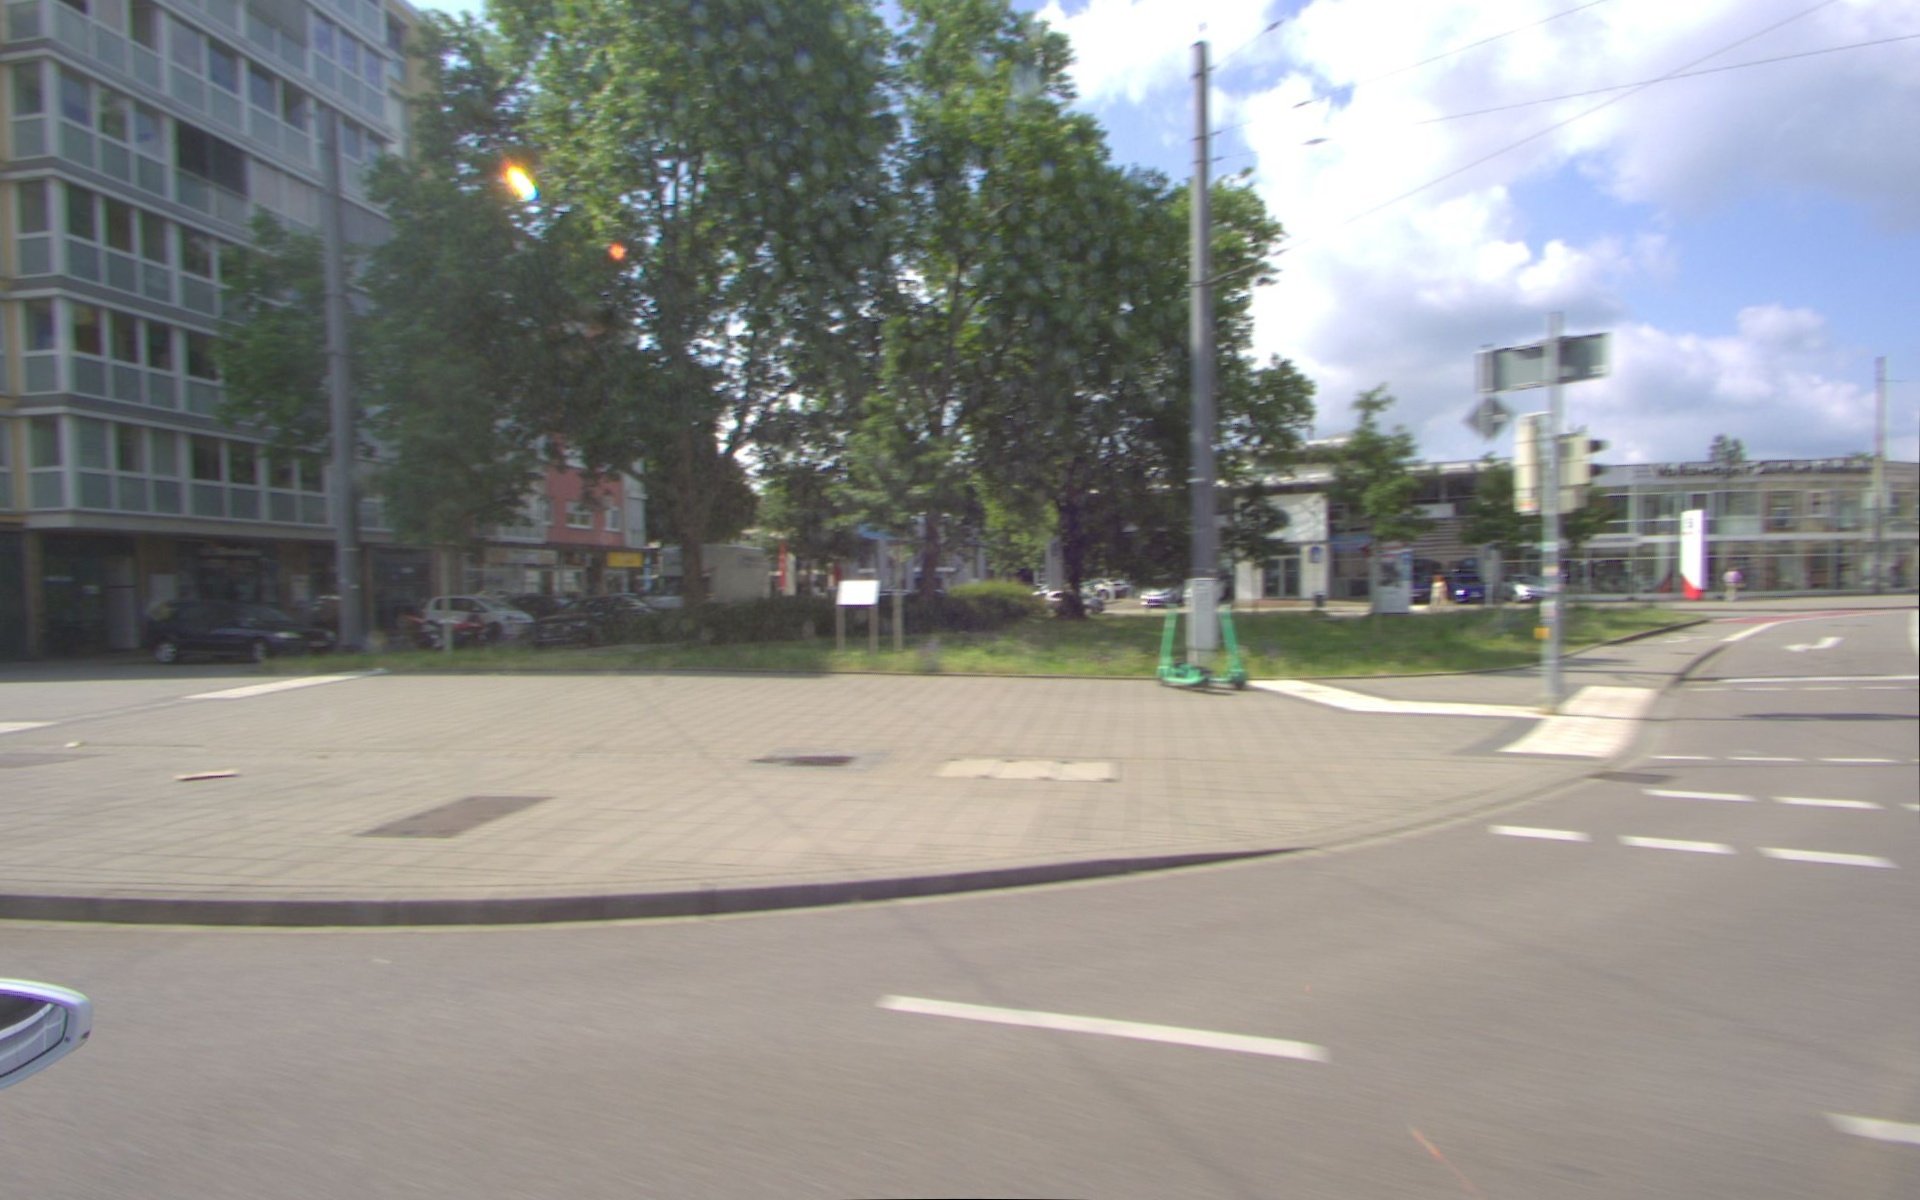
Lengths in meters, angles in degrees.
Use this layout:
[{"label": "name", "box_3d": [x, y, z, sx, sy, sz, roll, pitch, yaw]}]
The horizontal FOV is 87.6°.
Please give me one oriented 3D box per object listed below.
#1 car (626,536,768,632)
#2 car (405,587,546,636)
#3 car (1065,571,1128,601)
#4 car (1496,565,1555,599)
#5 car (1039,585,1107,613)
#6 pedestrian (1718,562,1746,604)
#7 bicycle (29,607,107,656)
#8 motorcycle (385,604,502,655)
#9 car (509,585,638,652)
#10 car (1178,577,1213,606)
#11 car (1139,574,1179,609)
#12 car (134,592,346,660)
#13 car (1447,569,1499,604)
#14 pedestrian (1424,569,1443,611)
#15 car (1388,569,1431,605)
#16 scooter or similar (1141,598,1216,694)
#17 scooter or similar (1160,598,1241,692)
[{"label": "car", "box_3d": [-9.180, -0.571, 35.939, 1.962, 3.084, 7.242, -1, 1, 11]}, {"label": "car", "box_3d": [-16.495, 0.365, 34.155, 4.017, 1.535, 1.807, 1, 2, 9]}, {"label": "car", "box_3d": [9.702, -0.980, 71.346, 3.941, 2.041, 1.989, 2, 2, 32]}, {"label": "car", "box_3d": [30.506, -0.970, 54.169, 1.899, 1.706, 3.993, 2, 1, 17]}, {"label": "car", "box_3d": [6.674, -0.076, 59.324, 3.623, 1.508, 1.666, 2, 3, 27]}, {"label": "pedestrian", "box_3d": [38.587, -0.846, 50.048, 0.856, 2.041, 0.702, 0, 2, 15]}, {"label": "bicycle", "box_3d": [-22.000, 0.763, 24.727, 0.583, 1.144, 1.345, 1, 2, 13]}, {"label": "motorcycle", "box_3d": [-11.598, 0.640, 22.509, 2.262, 1.044, 0.969, -1, 0, -31]}, {"label": "car", "box_3d": [-10.914, 0.464, 28.592, 1.961, 1.729, 3.998, -1, 1, 2]}, {"label": "car", "box_3d": [14.558, -0.546, 61.744, 1.759, 1.705, 3.991, 0, 1, 18]}, {"label": "car", "box_3d": [12.471, -0.560, 62.574, 1.964, 2.041, 3.992, 3, 2, 18]}, {"label": "car", "box_3d": [-17.335, 0.619, 24.201, 4.017, 1.535, 1.807, -1, 1, 9]}, {"label": "car", "box_3d": [27.435, -0.723, 53.682, 1.965, 1.749, 3.990, 2, 1, 20]}, {"label": "pedestrian", "box_3d": [23.071, -0.487, 48.786, 0.796, 2.041, 0.805, 0, 2, 23]}, {"label": "car", "box_3d": [24.790, -0.704, 55.345, 1.966, 1.862, 3.989, -1, 0, 22]}, {"label": "scooter or similar", "box_3d": [2.904, 0.588, 13.404, 0.376, 1.213, 1.060, 0, 2, -26]}, {"label": "scooter or similar", "box_3d": [3.272, 0.588, 13.663, 0.377, 1.213, 1.056, 0, 2, -36]}]
